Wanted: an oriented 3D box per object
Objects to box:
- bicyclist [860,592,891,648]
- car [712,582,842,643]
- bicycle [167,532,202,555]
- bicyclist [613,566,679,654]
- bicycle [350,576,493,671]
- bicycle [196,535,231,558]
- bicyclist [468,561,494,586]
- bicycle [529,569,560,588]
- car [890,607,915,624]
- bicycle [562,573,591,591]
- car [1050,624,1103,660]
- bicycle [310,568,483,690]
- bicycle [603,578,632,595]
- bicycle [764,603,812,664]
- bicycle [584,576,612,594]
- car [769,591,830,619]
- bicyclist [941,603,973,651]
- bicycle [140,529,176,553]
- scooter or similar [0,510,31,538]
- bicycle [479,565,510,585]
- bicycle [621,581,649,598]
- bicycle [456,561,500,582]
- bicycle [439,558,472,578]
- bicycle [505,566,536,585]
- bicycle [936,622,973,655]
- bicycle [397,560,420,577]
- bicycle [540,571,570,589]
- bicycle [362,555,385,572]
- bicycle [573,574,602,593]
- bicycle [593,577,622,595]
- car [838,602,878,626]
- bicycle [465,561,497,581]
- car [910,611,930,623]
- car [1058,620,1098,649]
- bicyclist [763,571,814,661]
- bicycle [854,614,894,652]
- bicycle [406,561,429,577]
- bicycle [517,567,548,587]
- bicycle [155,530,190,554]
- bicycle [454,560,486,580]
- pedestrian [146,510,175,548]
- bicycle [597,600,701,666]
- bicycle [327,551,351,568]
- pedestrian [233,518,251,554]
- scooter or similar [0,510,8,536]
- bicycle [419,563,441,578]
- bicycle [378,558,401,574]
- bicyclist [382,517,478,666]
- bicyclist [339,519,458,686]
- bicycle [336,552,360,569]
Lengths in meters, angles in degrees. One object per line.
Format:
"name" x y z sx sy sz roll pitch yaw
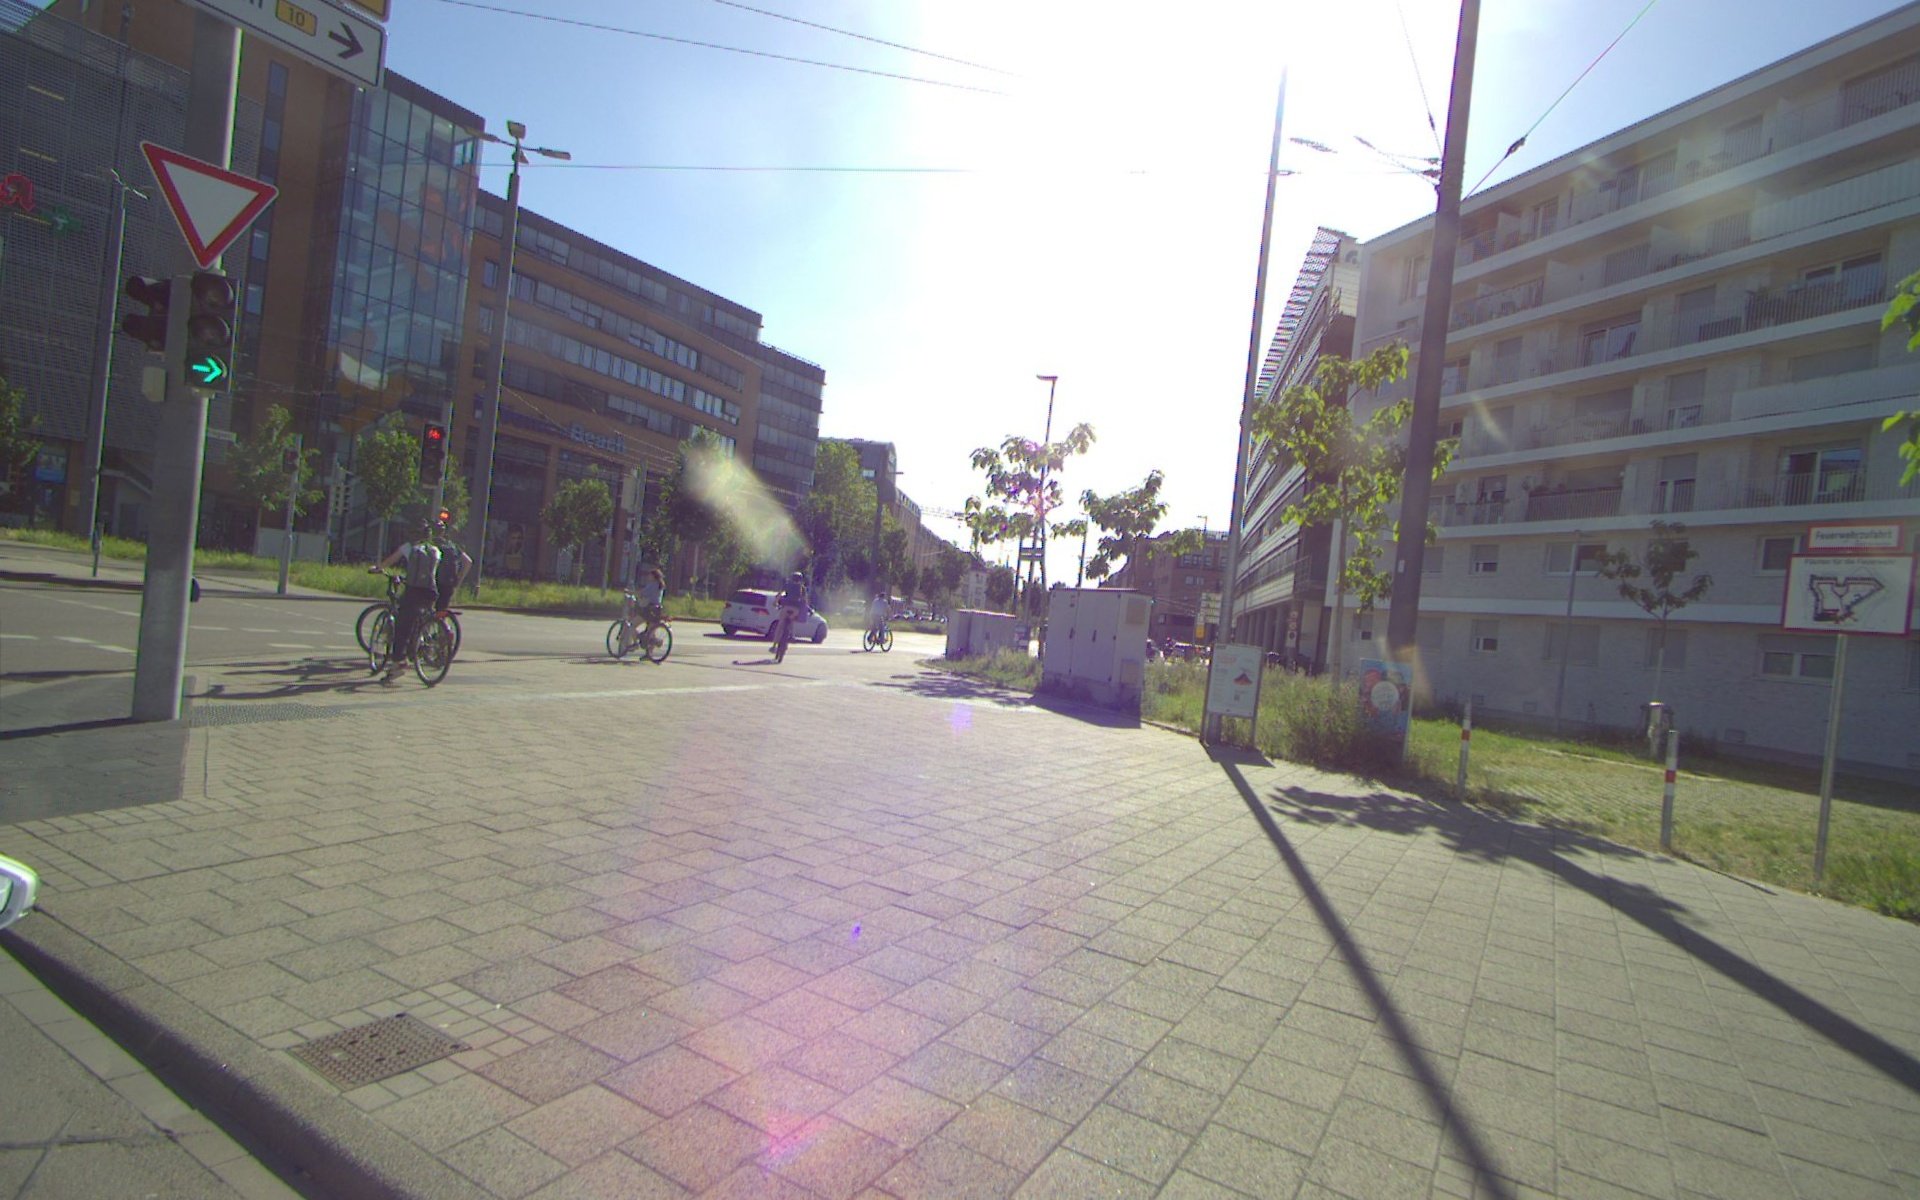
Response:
"bicyclist" -2.666 0.635 31.895 0.608 1.690 1.020 8 0 5
"car" -5.569 0.448 31.137 1.746 1.420 4.293 9 0 23
"bicycle" -39.956 -2.926 51.843 2.142 0.966 0.492 7 0 27
"bicyclist" -5.352 0.174 17.166 0.814 1.421 0.588 5 0 32
"bicycle" -6.947 0.292 12.957 1.862 1.051 0.605 5 0 27
"bicycle" -39.257 -2.839 52.864 2.142 0.966 0.492 7 0 27
"bicyclist" -30.794 -1.676 64.711 0.584 1.424 1.309 6 0 33
"bicycle" -30.872 -1.597 74.731 2.142 1.137 0.752 7 0 27
"car" -7.094 1.906 124.657 1.962 1.701 4.542 6 -1 11
"bicycle" -29.366 -1.377 77.011 2.142 1.137 0.752 7 0 27
"car" 5.879 2.141 50.348 1.694 1.542 4.401 7 -1 17
"bicycle" -6.105 0.289 10.859 1.978 1.119 0.695 5 0 32
"bicycle" -27.481 -1.086 80.732 2.142 1.137 0.752 7 0 27
"bicycle" -3.514 0.661 20.577 0.814 1.049 1.888 8 0 -10
"bicycle" -28.450 -1.202 79.028 2.142 1.137 0.752 7 0 27
"car" -12.526 0.413 78.907 1.781 1.672 5.544 6 -1 25
"bicyclist" -0.111 1.061 38.984 0.640 1.774 1.044 6 1 26
"bicycle" -40.287 -2.979 50.557 2.142 0.966 0.492 7 0 27
"scooter or similar" -43.758 -3.520 46.418 0.272 1.115 1.203 6 -2 34
"bicycle" -33.088 -1.778 71.516 2.142 1.137 0.752 7 0 27
"bicycle" -26.620 -0.885 82.326 2.142 1.137 0.752 7 0 27
"bicycle" -30.896 -1.818 64.530 0.588 1.022 2.563 6 -1 33
"bicycle" -34.575 -2.184 68.929 2.142 1.137 0.752 7 0 27
"bicycle" -31.906 -1.778 72.969 2.142 1.137 0.752 7 0 27
"bicycle" -0.190 1.510 38.925 0.639 1.122 1.758 5 -2 25
"bicycle" -34.455 -1.969 62.858 1.425 0.829 0.445 7 0 27
"bicycle" -30.404 -1.502 75.521 2.142 1.137 0.752 7 0 27
"bicycle" -35.561 -2.195 60.960 1.425 0.829 0.445 7 0 27
"bicycle" -28.779 -1.262 77.674 2.142 1.137 0.752 7 0 27
"bicycle" -28.007 -1.136 79.944 2.142 1.137 0.752 7 0 27
"car" -10.773 1.521 106.608 2.186 2.038 5.259 6 -1 17
"bicycle" -33.669 -2.035 70.685 2.142 1.137 0.752 7 0 27
"car" -5.429 2.341 137.699 1.962 1.350 4.793 7 -1 5
"car" 8.208 2.435 69.962 1.754 1.723 4.139 8 0 18
"bicyclist" -3.506 0.317 20.577 0.796 1.713 1.049 8 1 -10
"bicycle" -2.702 1.028 31.894 0.676 1.082 2.698 8 0 6
"bicycle" -34.227 -1.944 63.432 1.425 0.829 0.445 7 0 27
"bicycle" -31.372 -1.701 73.824 2.142 1.137 0.752 7 0 27
"bicycle" -40.031 -2.952 51.127 2.142 0.966 0.492 7 0 27
"bicycle" -34.034 -2.074 69.849 2.142 1.137 0.752 7 0 27
"pedestrian" -39.009 -3.463 49.064 0.586 1.705 0.778 6 0 18
"bicycle" -5.322 0.553 17.185 1.679 0.966 0.695 5 0 32
"bicycle" -36.632 -2.396 59.360 1.425 0.829 0.445 7 0 27
"pedestrian" -40.435 -3.603 56.669 0.369 1.937 0.539 6 -1 39
"scooter or similar" -43.976 -3.569 45.479 0.272 1.115 1.203 6 -2 34
"bicycle" -33.805 -1.883 64.194 1.425 0.829 0.445 7 0 27
"bicycle" -35.124 -2.097 61.883 1.425 0.829 0.445 7 0 27
"bicyclist" -6.788 -0.105 12.889 0.890 1.821 0.549 5 1 27
"bicyclist" -6.053 0.025 10.838 0.987 1.675 0.594 6 1 32
"bicycle" -36.400 -2.348 59.835 1.425 0.829 0.445 7 0 27
